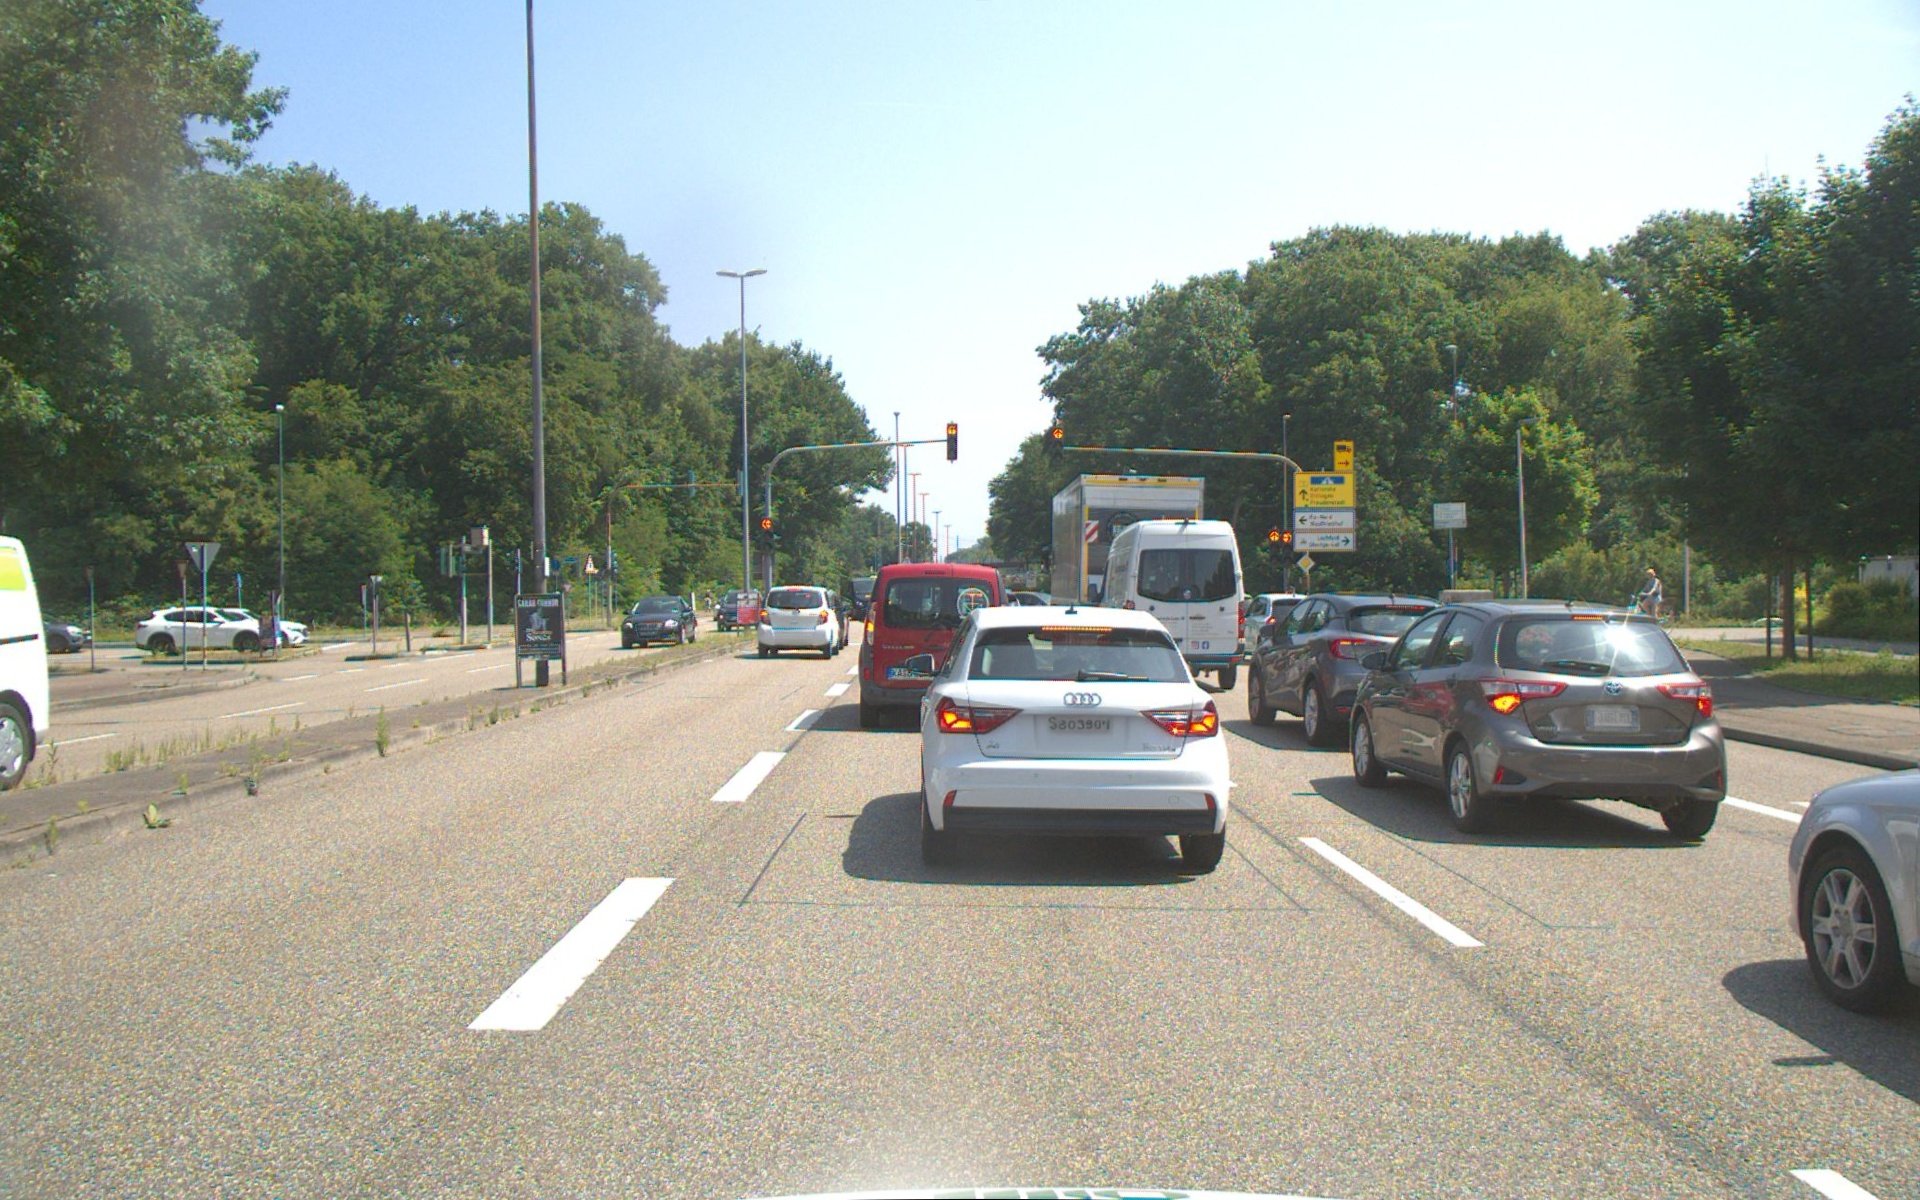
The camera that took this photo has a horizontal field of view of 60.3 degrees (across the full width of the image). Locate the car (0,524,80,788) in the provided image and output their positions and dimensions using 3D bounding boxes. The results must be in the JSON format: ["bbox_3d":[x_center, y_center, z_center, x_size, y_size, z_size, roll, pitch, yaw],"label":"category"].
[{"bbox_3d":[-8.151,0.474,11.037,1.953,1.979,4.907,-3,0,-2],"label":"car"}]

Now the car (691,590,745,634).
[{"bbox_3d":[-9.781,0.466,66.949,1.653,1.628,3.883,-3,0,-2],"label":"car"}]

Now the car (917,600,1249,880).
[{"bbox_3d":[0.585,0.723,10.562,1.677,1.410,4.090,0,0,-2],"label":"car"}]

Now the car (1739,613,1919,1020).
[{"bbox_3d":[4.187,0.781,4.925,1.677,1.386,4.090,1,0,-2],"label":"car"}]

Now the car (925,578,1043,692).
[{"bbox_3d":[0.307,0.503,26.180,1.677,1.660,4.090,0,0,-2],"label":"car"}]

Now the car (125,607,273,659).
[{"bbox_3d":[-26.422,1.146,57.531,4.289,1.711,1.807,1,0,-9],"label":"car"}]

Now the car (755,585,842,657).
[{"bbox_3d":[-3.551,0.436,36.966,1.677,1.519,4.090,0,0,-2],"label":"car"}]

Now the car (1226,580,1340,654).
[{"bbox_3d":[7.310,0.359,37.743,1.677,1.573,4.090,0,0,-2],"label":"car"}]

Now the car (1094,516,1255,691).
[{"bbox_3d":[3.520,0.037,28.043,1.990,2.690,4.844,0,0,-1],"label":"car"}]

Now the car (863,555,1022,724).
[{"bbox_3d":[-0.248,0.411,19.597,1.677,1.779,4.090,0,0,-2],"label":"car"}]

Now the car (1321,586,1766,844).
[{"bbox_3d":[4.057,0.701,12.265,1.677,1.504,4.090,3,0,-2],"label":"car"}]

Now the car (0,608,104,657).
[{"bbox_3d":[-33.953,1.178,60.519,4.293,1.711,1.805,1,-1,-12],"label":"car"}]

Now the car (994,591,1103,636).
[{"bbox_3d":[3.490,0.526,65.260,3.916,1.719,1.873,-1,0,33],"label":"car"}]

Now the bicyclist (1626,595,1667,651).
[{"bbox_3d":[18.400,0.615,44.367,0.811,1.464,0.598,-1,0,-10],"label":"bicyclist"}]

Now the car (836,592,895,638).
[{"bbox_3d":[-4.415,0.668,76.949,1.961,2.049,3.983,-1,0,-15],"label":"car"}]

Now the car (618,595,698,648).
[{"bbox_3d":[-8.669,0.597,47.771,1.645,1.362,3.998,-3,0,-2],"label":"car"}]

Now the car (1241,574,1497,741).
[{"bbox_3d":[4.337,0.552,18.185,1.677,1.621,4.090,0,0,-2],"label":"car"}]

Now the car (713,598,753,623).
[{"bbox_3d":[-12.797,0.555,93.368,1.683,1.284,4.300,-3,0,-1],"label":"car"}]

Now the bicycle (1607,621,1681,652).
[{"bbox_3d":[18.328,0.979,44.331,1.788,0.779,0.599,-1,0,-11],"label":"bicycle"}]

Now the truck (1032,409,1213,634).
[{"bbox_3d":[3.554,-1.632,39.355,3.025,4.511,11.579,1,0,0],"label":"truck"}]

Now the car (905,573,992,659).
[{"bbox_3d":[-0.286,0.297,34.005,1.677,1.660,4.090,0,0,-2],"label":"car"}]

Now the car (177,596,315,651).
[{"bbox_3d":[-26.545,0.871,61.644,4.290,1.710,1.807,-4,0,-9],"label":"car"}]
